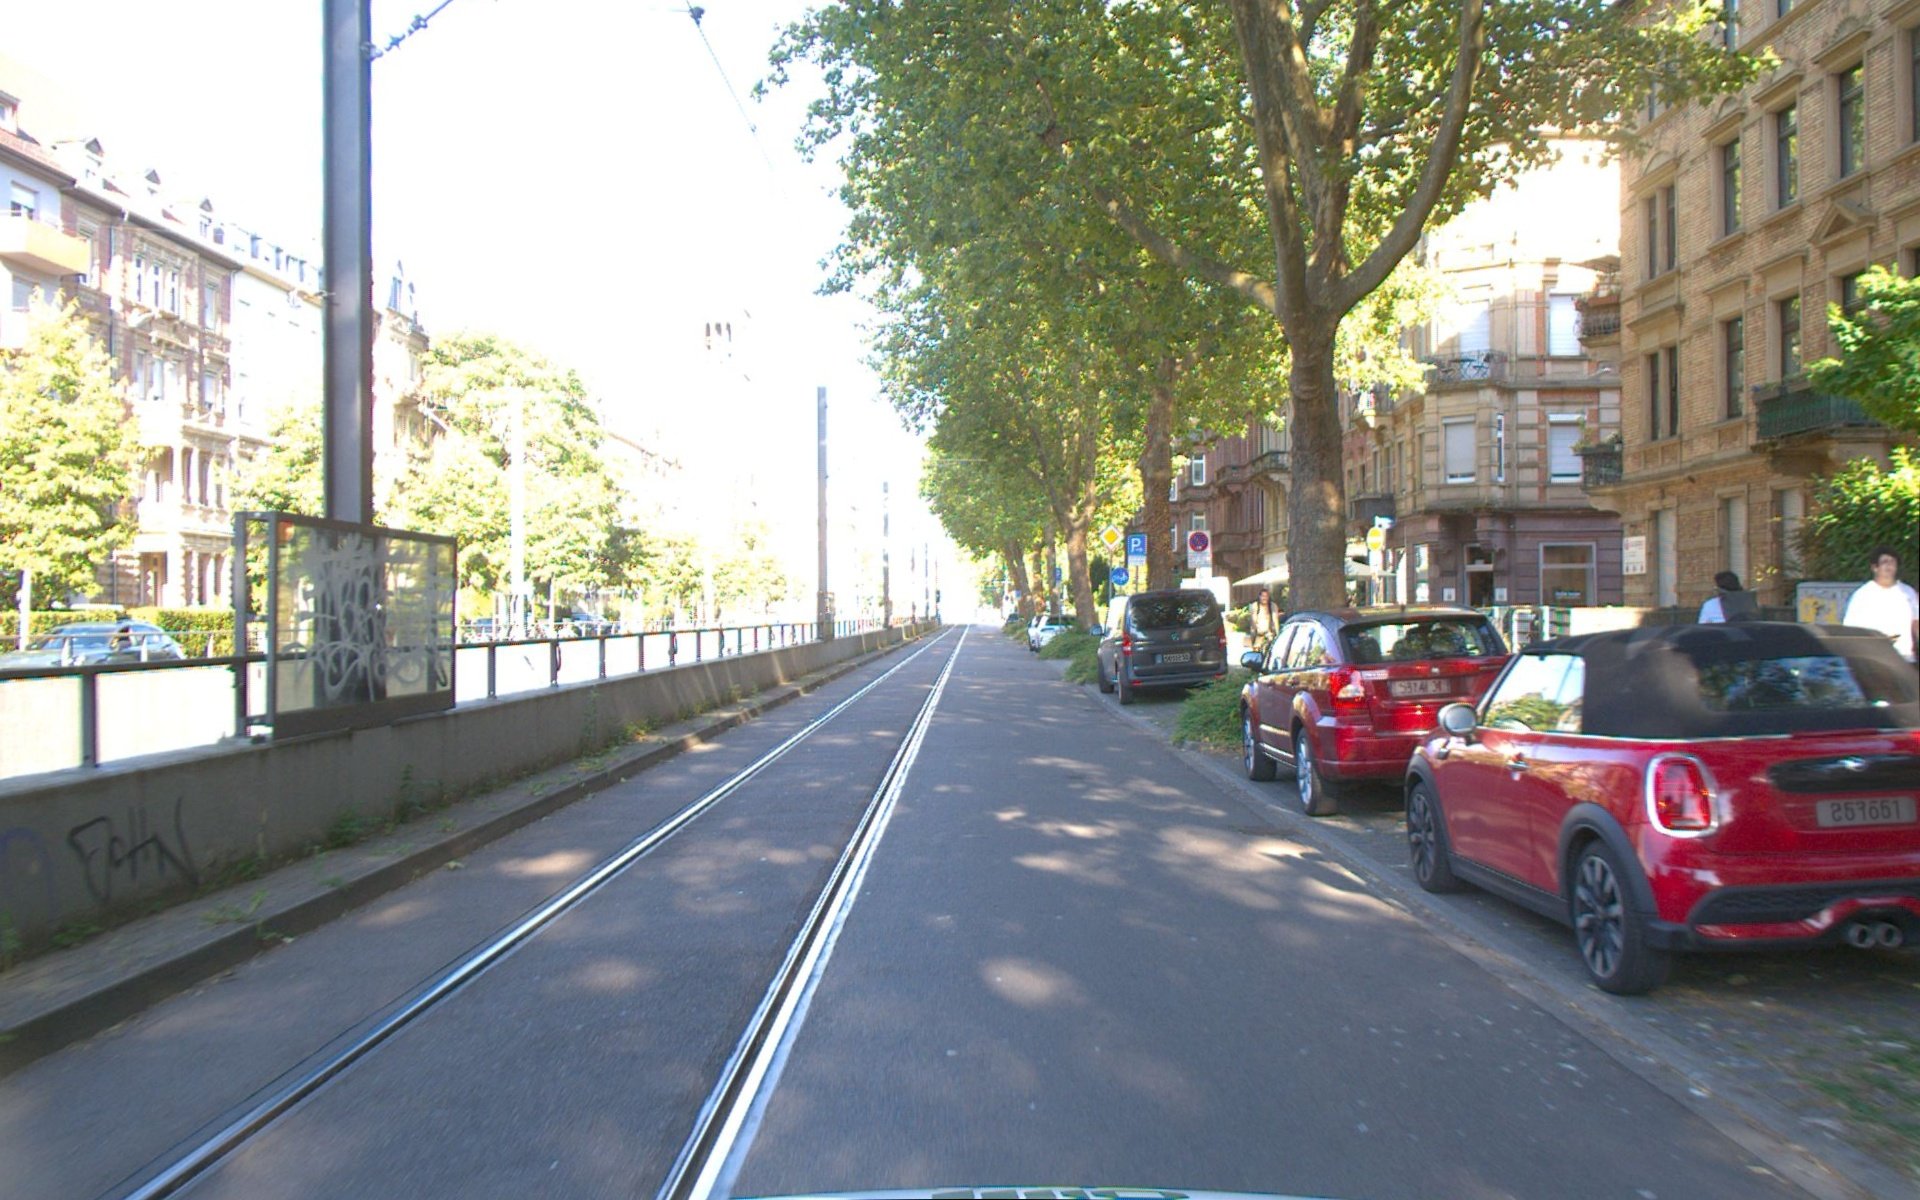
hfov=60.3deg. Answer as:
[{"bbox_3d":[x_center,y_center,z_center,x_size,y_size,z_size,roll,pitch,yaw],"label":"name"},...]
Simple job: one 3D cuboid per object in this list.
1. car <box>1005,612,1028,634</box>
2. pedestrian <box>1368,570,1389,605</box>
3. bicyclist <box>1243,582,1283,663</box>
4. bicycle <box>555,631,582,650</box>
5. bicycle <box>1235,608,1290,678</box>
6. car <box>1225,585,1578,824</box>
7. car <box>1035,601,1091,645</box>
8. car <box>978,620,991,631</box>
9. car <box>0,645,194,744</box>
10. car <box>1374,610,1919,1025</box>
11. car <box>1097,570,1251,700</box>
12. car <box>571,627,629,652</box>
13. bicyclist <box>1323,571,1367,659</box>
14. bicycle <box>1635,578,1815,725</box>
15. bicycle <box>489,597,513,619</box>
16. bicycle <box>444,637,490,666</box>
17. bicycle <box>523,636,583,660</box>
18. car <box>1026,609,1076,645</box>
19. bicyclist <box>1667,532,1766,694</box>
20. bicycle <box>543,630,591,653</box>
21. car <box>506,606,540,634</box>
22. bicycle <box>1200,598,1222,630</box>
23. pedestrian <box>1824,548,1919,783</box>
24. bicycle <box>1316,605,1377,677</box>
[{"bbox_3d":[4.492,1.803,132.221,1.583,1.614,4.416,-3,0,0],"label":"car"},{"bbox_3d":[14.364,-0.435,56.769,0.545,1.158,0.526,-2,0,0],"label":"pedestrian"},{"bbox_3d":[5.344,0.391,29.174,0.558,1.404,0.644,-1,0,0],"label":"bicyclist"},{"bbox_3d":[-20.132,2.065,84.966,1.251,0.921,0.534,0,0,-30],"label":"bicycle"},{"bbox_3d":[5.333,0.745,29.241,0.549,1.199,2.226,0,-1,0],"label":"bicycle"},{"bbox_3d":[3.480,0.758,13.938,1.679,1.576,4.500,-4,-1,0],"label":"car"},{"bbox_3d":[3.858,0.832,62.502,1.765,1.503,4.646,-2,0,0],"label":"car"},{"bbox_3d":[3.362,3.543,229.990,1.709,1.487,3.644,0,0,0],"label":"car"},{"bbox_3d":[-15.835,1.645,29.908,1.930,1.530,4.408,0,0,0],"label":"car"},{"bbox_3d":[3.412,0.820,8.094,1.679,1.488,3.999,-1,-1,-1],"label":"car"},{"bbox_3d":[3.781,0.559,30.177,1.953,2.048,5.201,-3,1,-1],"label":"car"},{"bbox_3d":[-25.781,2.836,118.609,3.913,1.653,1.822,-1,0,-9],"label":"car"},{"bbox_3d":[6.778,0.261,29.116,0.558,1.513,0.644,-3,0,0],"label":"bicyclist"},{"bbox_3d":[6.829,0.413,14.897,0.549,1.198,2.226,-1,1,-1],"label":"bicycle"},{"bbox_3d":[-23.666,0.393,85.318,0.544,1.118,2.376,0,0,0],"label":"bicycle"},{"bbox_3d":[-20.444,2.137,68.594,1.770,1.199,0.562,0,0,3],"label":"bicycle"},{"bbox_3d":[-19.655,2.310,79.877,2.751,1.118,0.636,0,0,-33],"label":"bicycle"},{"bbox_3d":[3.694,1.086,67.724,1.792,1.350,4.000,-2,0,1],"label":"car"},{"bbox_3d":[6.808,0.107,14.895,0.532,1.404,0.644,-3,1,-1],"label":"bicyclist"},{"bbox_3d":[-20.041,2.093,84.350,2.343,1.118,0.551,0,0,-30],"label":"bicycle"},{"bbox_3d":[-29.880,1.350,113.180,1.958,1.881,4.468,0,0,-11],"label":"car"},{"bbox_3d":[9.711,0.535,64.052,0.465,1.163,1.896,-4,0,0],"label":"bicycle"},{"bbox_3d":[7.516,0.509,13.340,0.675,1.816,0.644,-3,1,-1],"label":"pedestrian"},{"bbox_3d":[6.794,0.708,29.135,0.549,1.199,2.021,-2,-1,0],"label":"bicycle"}]
